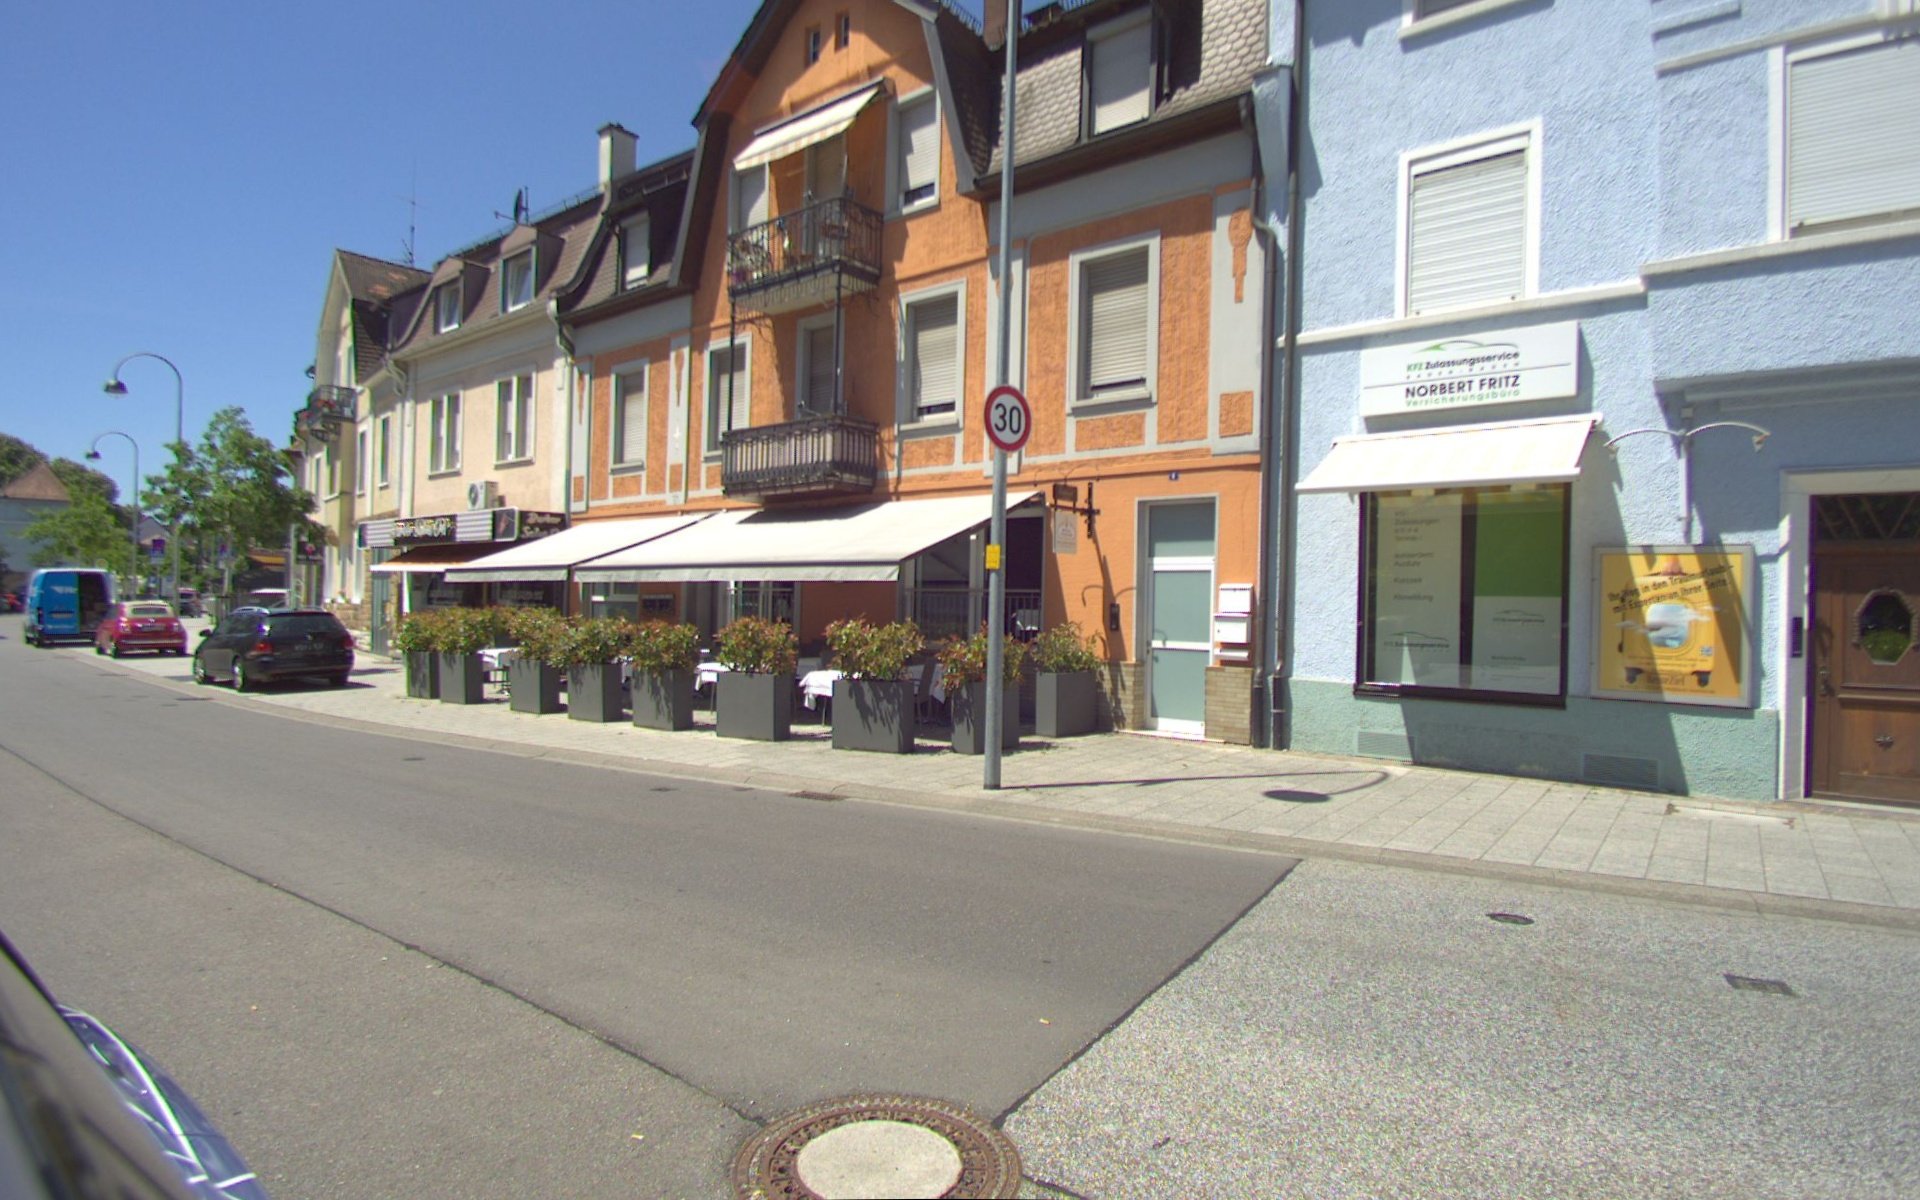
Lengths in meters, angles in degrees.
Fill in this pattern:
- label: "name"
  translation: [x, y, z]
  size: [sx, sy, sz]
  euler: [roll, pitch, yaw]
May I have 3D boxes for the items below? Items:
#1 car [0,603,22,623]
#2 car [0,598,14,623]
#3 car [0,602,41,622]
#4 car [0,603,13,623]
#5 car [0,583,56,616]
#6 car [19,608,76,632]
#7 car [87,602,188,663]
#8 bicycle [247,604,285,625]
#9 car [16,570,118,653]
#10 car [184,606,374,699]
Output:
- label: "car"
  translation: [-75.182, 0.951, 78.140]
  size: [3.756, 1.473, 1.656]
  euler: [3, -3, -33]
- label: "car"
  translation: [-71.494, 0.699, 73.522]
  size: [3.756, 1.800, 1.846]
  euler: [3, -2, -33]
- label: "car"
  translation: [-77.423, 0.970, 81.862]
  size: [4.288, 1.562, 1.656]
  euler: [2, -1, -35]
- label: "car"
  translation: [-73.762, 0.935, 75.983]
  size: [3.558, 1.473, 1.621]
  euler: [4, -2, -33]
- label: "car"
  translation: [-83.807, -0.041, 89.968]
  size: [4.788, 2.757, 1.856]
  euler: [3, -2, -31]
- label: "car"
  translation: [-55.848, 1.223, 61.999]
  size: [1.889, 1.437, 3.991]
  euler: [2, -2, -32]
- label: "car"
  translation: [-22.838, 0.860, 28.063]
  size: [3.513, 1.532, 1.544]
  euler: [1, 0, 41]
- label: "bicycle"
  translation: [-40.503, 0.844, 59.076]
  size: [1.743, 1.244, 0.617]
  euler: [0, -1, -40]
- label: "car"
  translation: [-29.604, 0.338, 33.471]
  size: [5.504, 2.517, 2.069]
  euler: [0, 0, 44]
- label: "car"
  translation: [-12.936, 0.895, 19.118]
  size: [4.335, 1.493, 1.896]
  euler: [0, 1, 41]
